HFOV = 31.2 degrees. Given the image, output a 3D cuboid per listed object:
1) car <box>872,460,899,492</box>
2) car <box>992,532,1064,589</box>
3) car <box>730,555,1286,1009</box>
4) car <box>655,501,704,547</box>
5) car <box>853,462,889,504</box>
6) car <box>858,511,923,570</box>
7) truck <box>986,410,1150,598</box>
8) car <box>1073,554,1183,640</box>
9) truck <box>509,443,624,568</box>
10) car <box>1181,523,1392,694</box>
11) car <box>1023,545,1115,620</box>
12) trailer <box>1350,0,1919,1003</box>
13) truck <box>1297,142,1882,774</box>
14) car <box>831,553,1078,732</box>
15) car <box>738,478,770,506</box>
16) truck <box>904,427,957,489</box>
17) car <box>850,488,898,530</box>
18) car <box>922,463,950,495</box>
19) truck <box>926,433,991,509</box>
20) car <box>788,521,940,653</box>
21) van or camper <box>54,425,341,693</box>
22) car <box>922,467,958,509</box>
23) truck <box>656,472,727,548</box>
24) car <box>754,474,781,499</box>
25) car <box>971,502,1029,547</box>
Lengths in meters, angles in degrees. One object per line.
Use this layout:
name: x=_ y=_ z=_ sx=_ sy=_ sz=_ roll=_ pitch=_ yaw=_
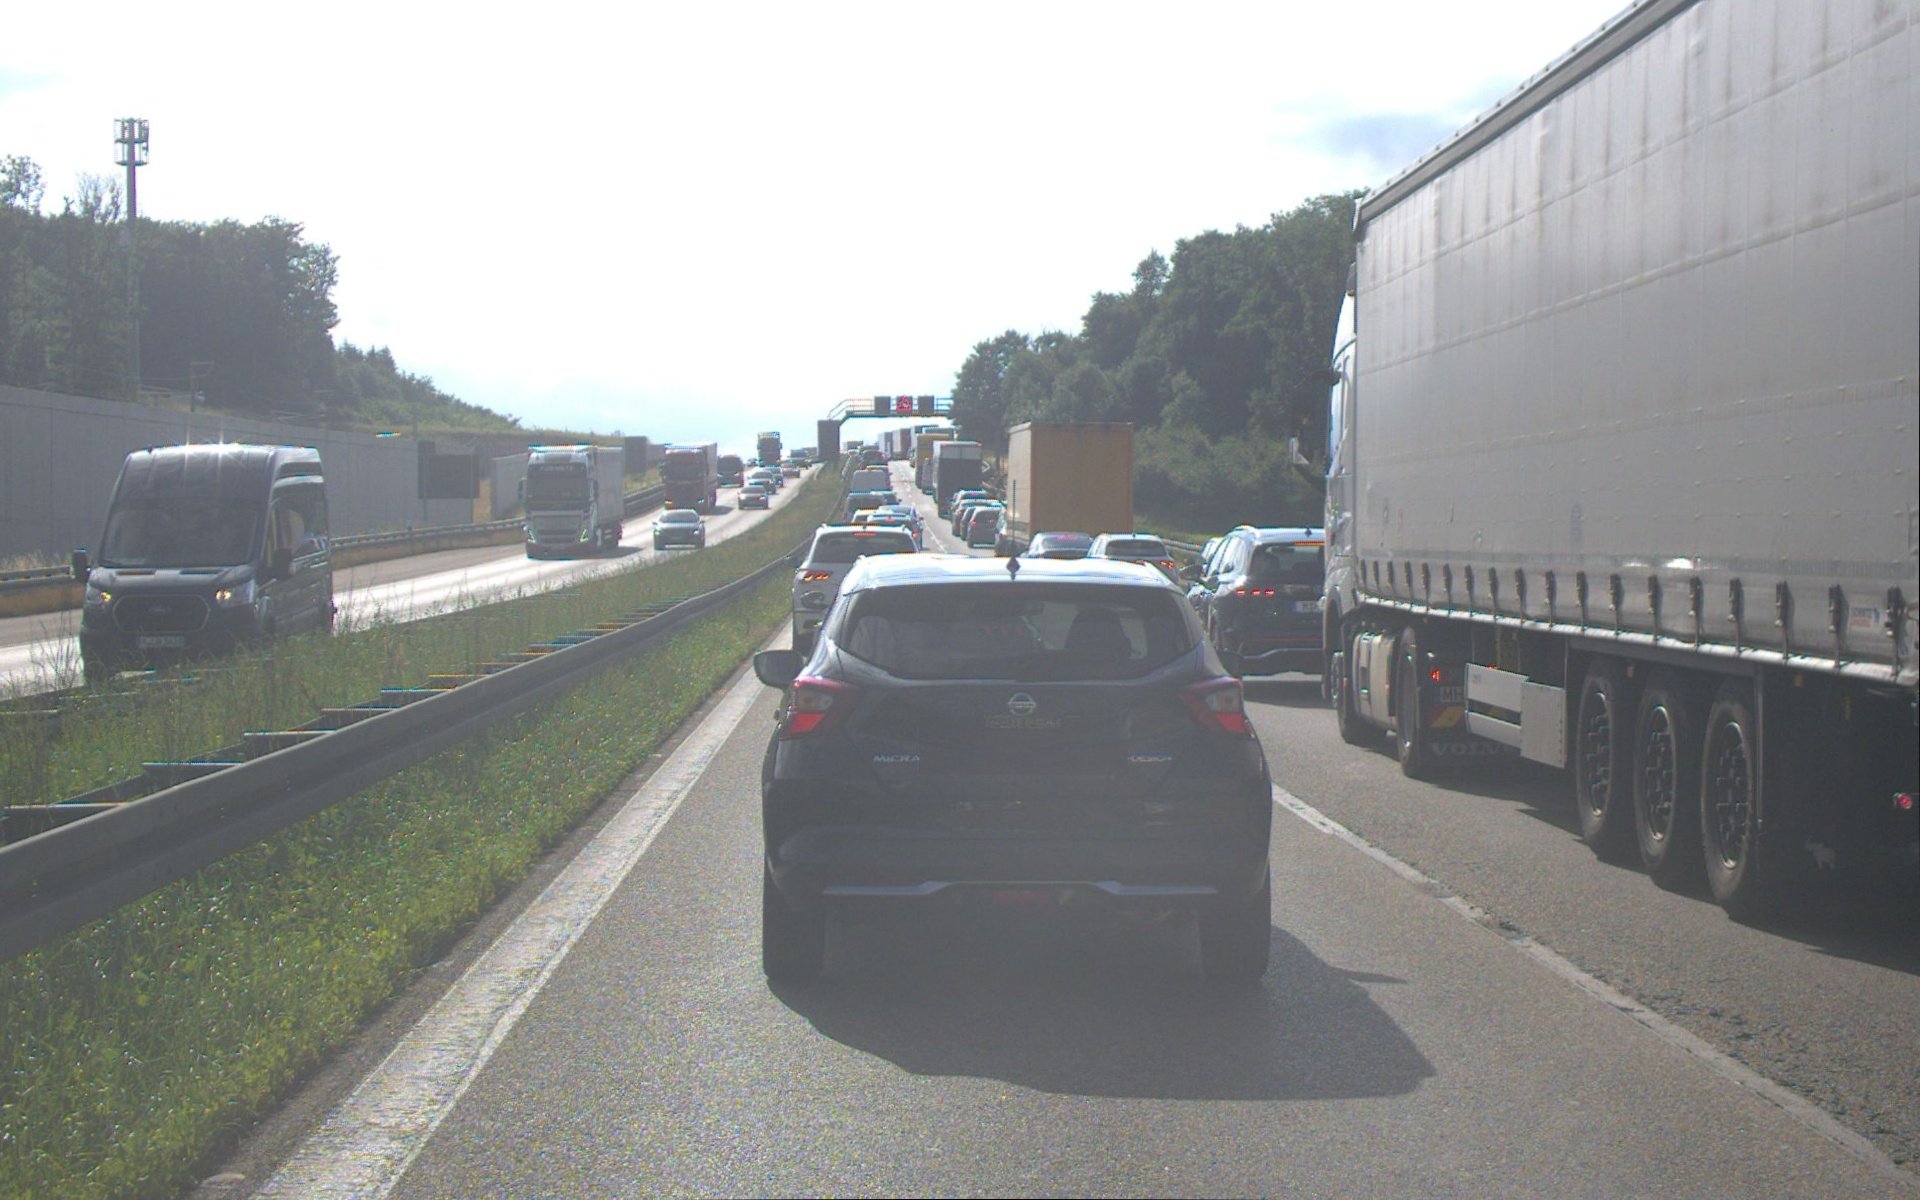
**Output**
car: x=-5.218 y=-8.716 z=241.042 sx=1.873 sy=2.151 sz=5.212 roll=0 pitch=3 yaw=-1
car: x=1.997 y=-1.182 z=102.068 sx=1.873 sy=1.638 sz=4.233 roll=0 pitch=1 yaw=-2
car: x=0.113 y=0.558 z=13.100 sx=1.773 sy=1.446 sz=4.232 roll=0 pitch=1 yaw=-1
car: x=-11.012 y=-2.959 z=135.222 sx=1.743 sy=1.700 sz=4.232 roll=1 pitch=0 yaw=-3
car: x=-4.808 y=-6.334 z=185.781 sx=1.873 sy=2.151 sz=5.212 roll=0 pitch=3 yaw=-1
car: x=-2.049 y=-1.780 z=101.899 sx=1.873 sy=1.638 sz=4.233 roll=0 pitch=2 yaw=-1
truck: x=2.702 y=-2.386 z=90.649 sx=3.296 sy=4.562 sz=12.442 roll=1 pitch=0 yaw=-3
car: x=3.281 y=-0.081 z=67.726 sx=1.873 sy=1.638 sz=4.232 roll=0 pitch=1 yaw=-1
truck: x=-14.994 y=-3.590 z=131.782 sx=3.296 sy=4.561 sz=12.442 roll=0 pitch=1 yaw=-2
car: x=3.229 y=0.058 z=34.696 sx=1.697 sy=1.605 sz=4.437 roll=0 pitch=1 yaw=0
car: x=2.467 y=-0.422 z=78.695 sx=1.873 sy=1.638 sz=4.232 roll=0 pitch=1 yaw=-1
trailer: x=4.379 y=-0.728 z=17.202 sx=3.130 sy=3.997 sz=13.367 roll=1 pitch=0 yaw=-1
truck: x=4.277 y=-0.905 z=24.554 sx=3.133 sy=4.002 sz=5.164 roll=1 pitch=0 yaw=-1
car: x=-0.082 y=0.297 z=28.168 sx=1.873 sy=1.353 sz=4.232 roll=0 pitch=1 yaw=-1
car: x=-12.666 y=-6.645 z=211.316 sx=1.744 sy=1.700 sz=4.233 roll=1 pitch=2 yaw=-1
truck: x=-2.279 y=-10.750 z=261.398 sx=3.464 sy=4.561 sz=12.443 roll=1 pitch=2 yaw=-3
car: x=-3.547 y=-3.746 z=141.276 sx=1.873 sy=1.638 sz=4.233 roll=0 pitch=2 yaw=-2
car: x=-1.700 y=-8.607 z=244.864 sx=1.873 sy=2.151 sz=5.212 roll=0 pitch=3 yaw=-1
truck: x=-0.155 y=-8.076 z=215.671 sx=3.464 sy=4.561 sz=12.443 roll=1 pitch=2 yaw=-3
car: x=-1.227 y=-0.186 z=44.718 sx=1.873 sy=1.638 sz=4.232 roll=0 pitch=1 yaw=-1
van or camper: x=-8.622 y=-0.441 z=39.429 sx=2.090 sy=2.810 sz=5.896 roll=1 pitch=0 yaw=-1
car: x=-1.104 y=-6.203 z=189.765 sx=1.873 sy=2.151 sz=5.212 roll=0 pitch=3 yaw=-1
truck: x=-16.393 y=-5.500 z=210.548 sx=3.297 sy=4.539 sz=12.441 roll=0 pitch=1 yaw=0
car: x=-13.959 y=-8.266 z=249.628 sx=1.744 sy=1.699 sz=4.233 roll=1 pitch=3 yaw=-1
car: x=1.526 y=-2.930 z=133.079 sx=1.873 sy=1.638 sz=4.233 roll=0 pitch=2 yaw=-4
